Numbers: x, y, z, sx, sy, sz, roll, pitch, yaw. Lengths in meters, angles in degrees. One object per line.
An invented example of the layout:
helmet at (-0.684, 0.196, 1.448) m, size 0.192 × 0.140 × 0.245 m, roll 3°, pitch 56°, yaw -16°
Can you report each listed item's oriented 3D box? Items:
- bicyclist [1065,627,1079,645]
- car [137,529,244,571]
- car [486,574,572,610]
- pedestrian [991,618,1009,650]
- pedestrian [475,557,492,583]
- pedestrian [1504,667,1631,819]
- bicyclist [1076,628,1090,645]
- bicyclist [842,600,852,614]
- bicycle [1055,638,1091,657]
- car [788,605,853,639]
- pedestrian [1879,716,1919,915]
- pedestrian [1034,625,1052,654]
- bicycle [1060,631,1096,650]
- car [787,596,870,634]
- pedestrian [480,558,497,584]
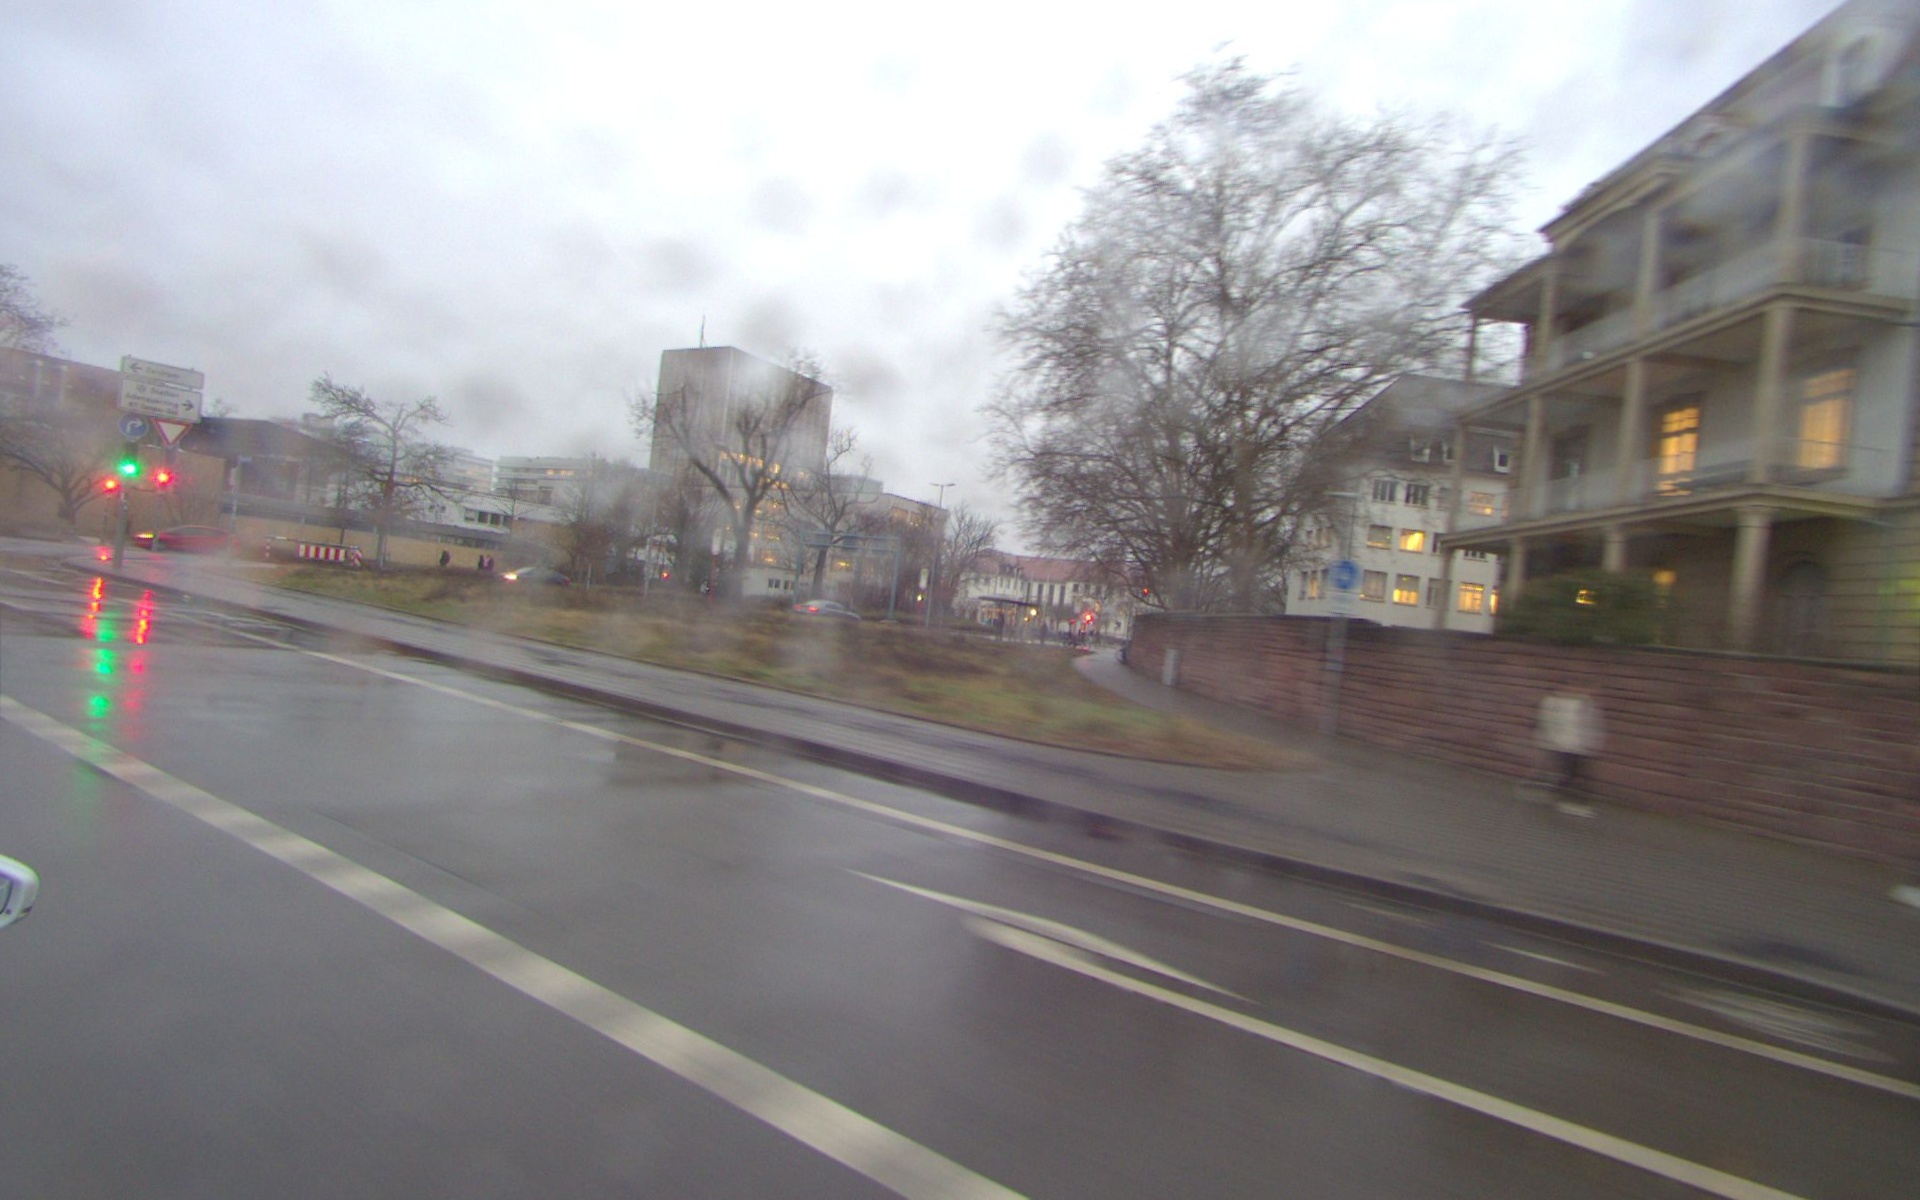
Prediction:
bicyclist at (7.577, 2.443, 67.888) m, size 0.691 × 1.092 × 0.494 m, roll 5°, pitch -2°, yaw 34°
car at (-36.684, -2.356, 48.009) m, size 3.781 × 1.413 × 1.546 m, roll 9°, pitch -4°, yaw -44°
car at (-26.679, -0.471, 62.384) m, size 4.422 × 1.598 × 1.945 m, roll 9°, pitch -4°, yaw -44°
pedestrian at (2.450, 2.080, 61.955) m, size 0.633 × 1.856 × 0.836 m, roll 5°, pitch -2°, yaw 25°
pedestrian at (-33.137, -2.080, 69.937) m, size 0.749 × 1.744 × 0.623 m, roll 4°, pitch -3°, yaw 40°
pedestrian at (7.560, 1.755, 12.569) m, size 0.766 × 1.697 × 0.961 m, roll 6°, pitch 1°, yaw -5°
bicyclist at (8.333, 2.466, 68.068) m, size 0.691 × 1.092 × 0.494 m, roll 5°, pitch -2°, yaw 34°
bicyclist at (-11.093, 0.683, 98.875) m, size 0.600 × 1.260 × 0.697 m, roll 4°, pitch -3°, yaw 42°
bicycle at (7.625, 3.184, 67.786) m, size 2.374 × 1.002 × 0.479 m, roll 4°, pitch -3°, yaw 33°
car at (-8.768, 1.381, 63.414) m, size 1.862 × 1.669 × 3.635 m, roll 4°, pitch -4°, yaw 37°
pedestrian at (8.882, 1.945, 8.889) m, size 0.716 × 1.697 × 0.792 m, roll 7°, pitch 1°, yaw 20°
pedestrian at (5.726, 2.707, 69.159) m, size 0.824 × 1.856 × 0.667 m, roll 5°, pitch -2°, yaw 36°
bicycle at (7.989, 2.745, 68.279) m, size 2.374 × 1.002 × 0.537 m, roll 4°, pitch -3°, yaw 33°
car at (-4.799, 0.553, 36.801) m, size 2.655 × 0.989 × 1.291 m, roll 8°, pitch 0°, yaw -32°
pedestrian at (-32.431, -1.997, 69.131) m, size 0.749 × 1.744 × 0.623 m, roll 4°, pitch -3°, yaw 40°
